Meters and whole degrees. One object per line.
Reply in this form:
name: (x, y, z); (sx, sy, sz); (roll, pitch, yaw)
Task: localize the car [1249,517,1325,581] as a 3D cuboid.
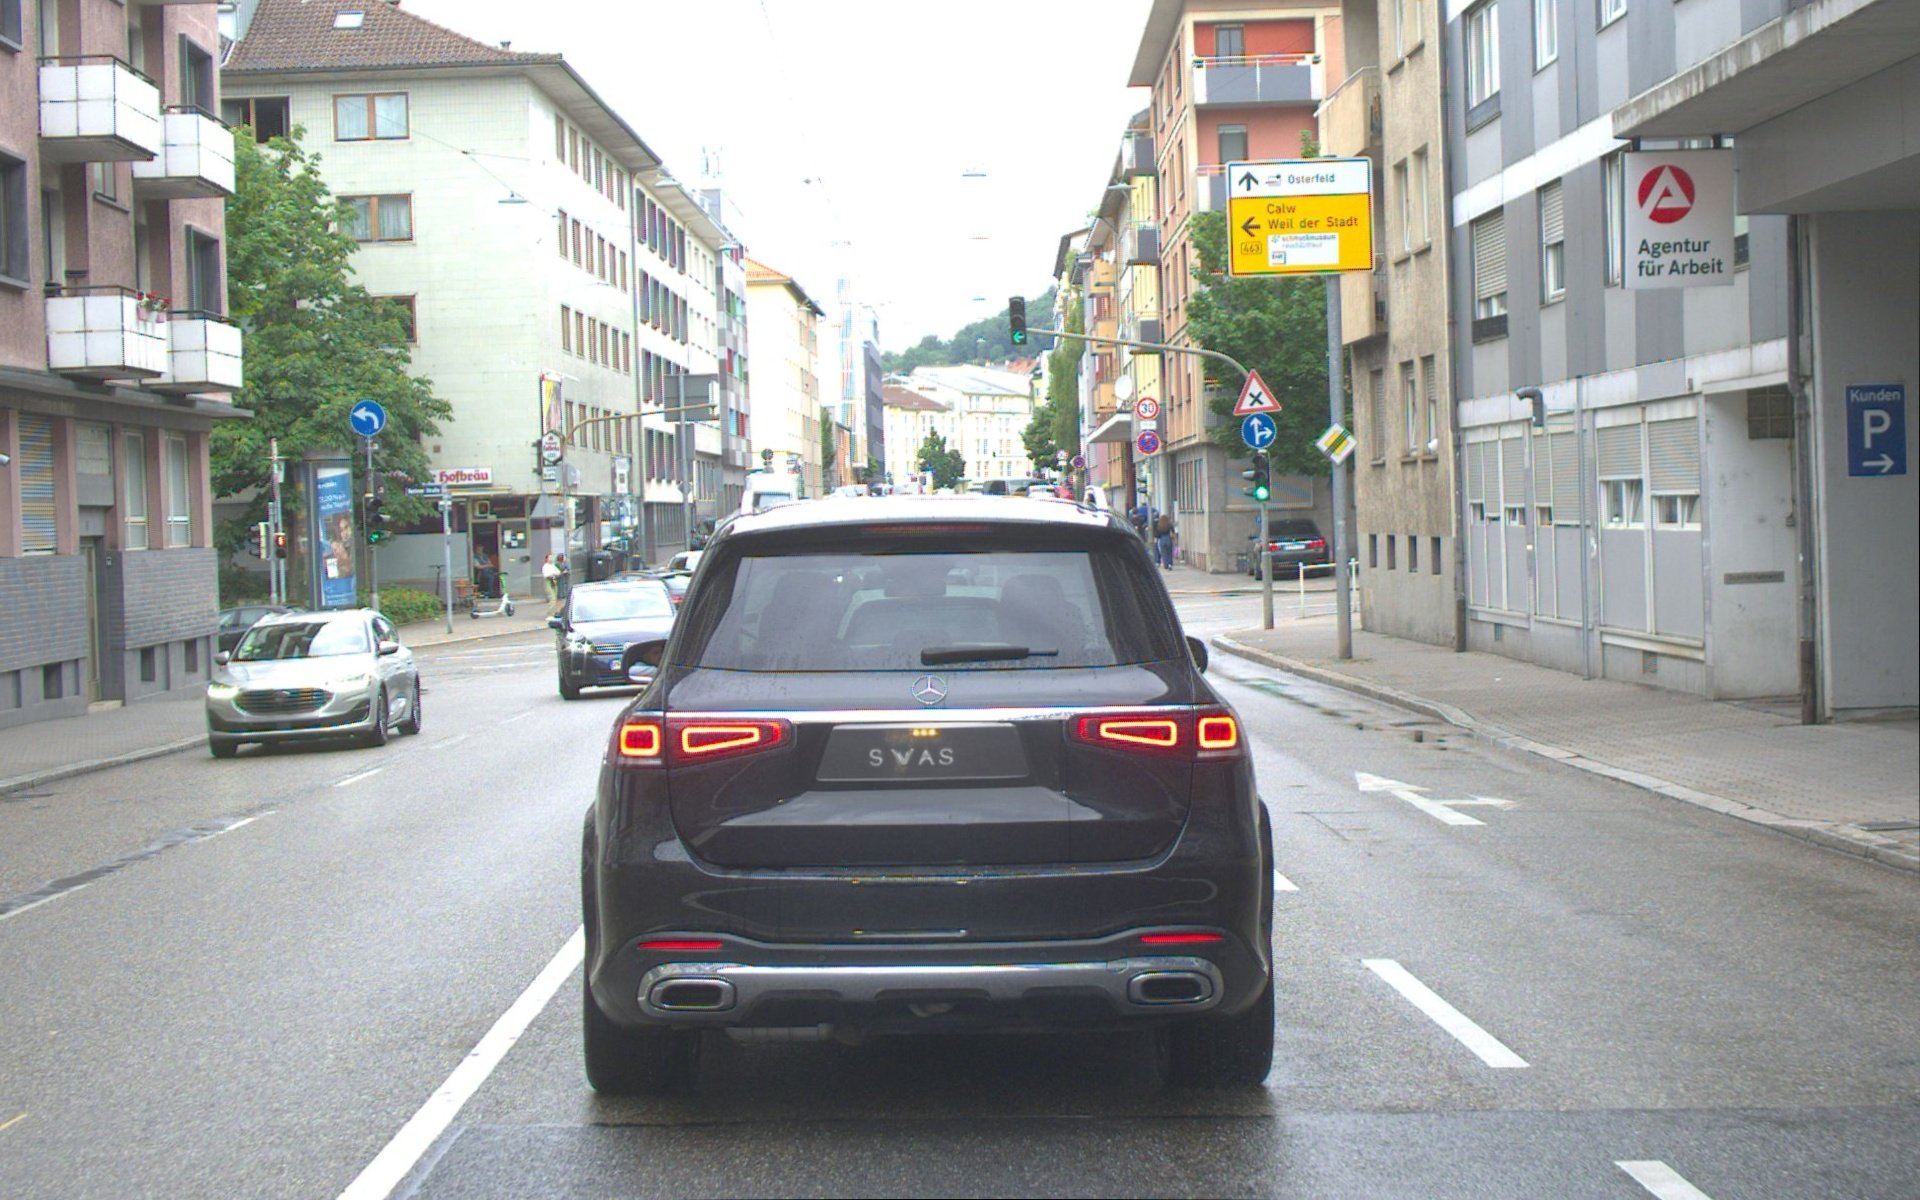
car: (8.363, -1.303, 88.093); (1.671, 1.583, 3.330); (-2, 1, 2)

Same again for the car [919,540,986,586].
car: (-0.250, -1.188, 109.912); (1.993, 1.347, 4.000); (-3, 1, -1)

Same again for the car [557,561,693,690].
car: (-4.803, 0.328, 49.106); (1.772, 1.640, 4.412); (-3, 1, -6)

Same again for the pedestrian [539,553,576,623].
pedestrian: (-10.308, -0.307, 87.986); (0.636, 1.758, 0.772); (-2, 1, 17)

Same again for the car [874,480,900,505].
car: (-5.172, -7.588, 243.571); (1.618, 1.534, 4.218); (-3, 0, -3)

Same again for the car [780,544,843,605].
car: (-4.092, -0.682, 94.706); (1.618, 1.534, 4.218); (-3, 0, -3)

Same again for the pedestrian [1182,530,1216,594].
pedestrian: (6.873, -1.101, 98.851); (0.862, 1.818, 0.706); (-2, 0, -2)

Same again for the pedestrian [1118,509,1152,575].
pedestrian: (5.426, -1.785, 106.567); (0.923, 2.007, 0.706); (-2, 0, -2)

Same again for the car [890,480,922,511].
car: (-3.106, -5.954, 195.998); (1.618, 1.534, 4.218); (-3, 0, -3)

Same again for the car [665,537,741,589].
car: (-7.010, -0.991, 94.039); (1.885, 1.260, 4.218); (-3, 0, -3)

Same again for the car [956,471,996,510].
car: (0.801, -5.484, 172.565); (1.723, 1.754, 4.218); (-3, 0, -3)

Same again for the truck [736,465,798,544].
truck: (-8.413, -4.114, 150.539); (2.479, 3.035, 9.921); (-3, 0, -3)

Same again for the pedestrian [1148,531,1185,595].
pedestrian: (5.939, -1.068, 98.848); (0.923, 1.798, 0.706); (-2, 0, -2)

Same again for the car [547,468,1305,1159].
car: (-0.113, 0.576, 11.364); (1.985, 1.799, 4.390); (1, 0, -1)

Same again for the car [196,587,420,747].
car: (-6.944, 0.688, 36.998); (1.772, 1.534, 4.359); (-3, 0, -4)

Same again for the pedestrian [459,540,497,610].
pedestrian: (-13.396, -0.698, 95.495); (0.923, 1.895, 0.706); (-2, 0, -2)

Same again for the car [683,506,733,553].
car: (-9.147, -2.550, 125.101); (1.618, 1.534, 4.218); (-3, 0, -3)

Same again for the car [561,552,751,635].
car: (-6.408, -0.117, 72.115); (1.773, 1.534, 4.357); (-3, 0, -39)
